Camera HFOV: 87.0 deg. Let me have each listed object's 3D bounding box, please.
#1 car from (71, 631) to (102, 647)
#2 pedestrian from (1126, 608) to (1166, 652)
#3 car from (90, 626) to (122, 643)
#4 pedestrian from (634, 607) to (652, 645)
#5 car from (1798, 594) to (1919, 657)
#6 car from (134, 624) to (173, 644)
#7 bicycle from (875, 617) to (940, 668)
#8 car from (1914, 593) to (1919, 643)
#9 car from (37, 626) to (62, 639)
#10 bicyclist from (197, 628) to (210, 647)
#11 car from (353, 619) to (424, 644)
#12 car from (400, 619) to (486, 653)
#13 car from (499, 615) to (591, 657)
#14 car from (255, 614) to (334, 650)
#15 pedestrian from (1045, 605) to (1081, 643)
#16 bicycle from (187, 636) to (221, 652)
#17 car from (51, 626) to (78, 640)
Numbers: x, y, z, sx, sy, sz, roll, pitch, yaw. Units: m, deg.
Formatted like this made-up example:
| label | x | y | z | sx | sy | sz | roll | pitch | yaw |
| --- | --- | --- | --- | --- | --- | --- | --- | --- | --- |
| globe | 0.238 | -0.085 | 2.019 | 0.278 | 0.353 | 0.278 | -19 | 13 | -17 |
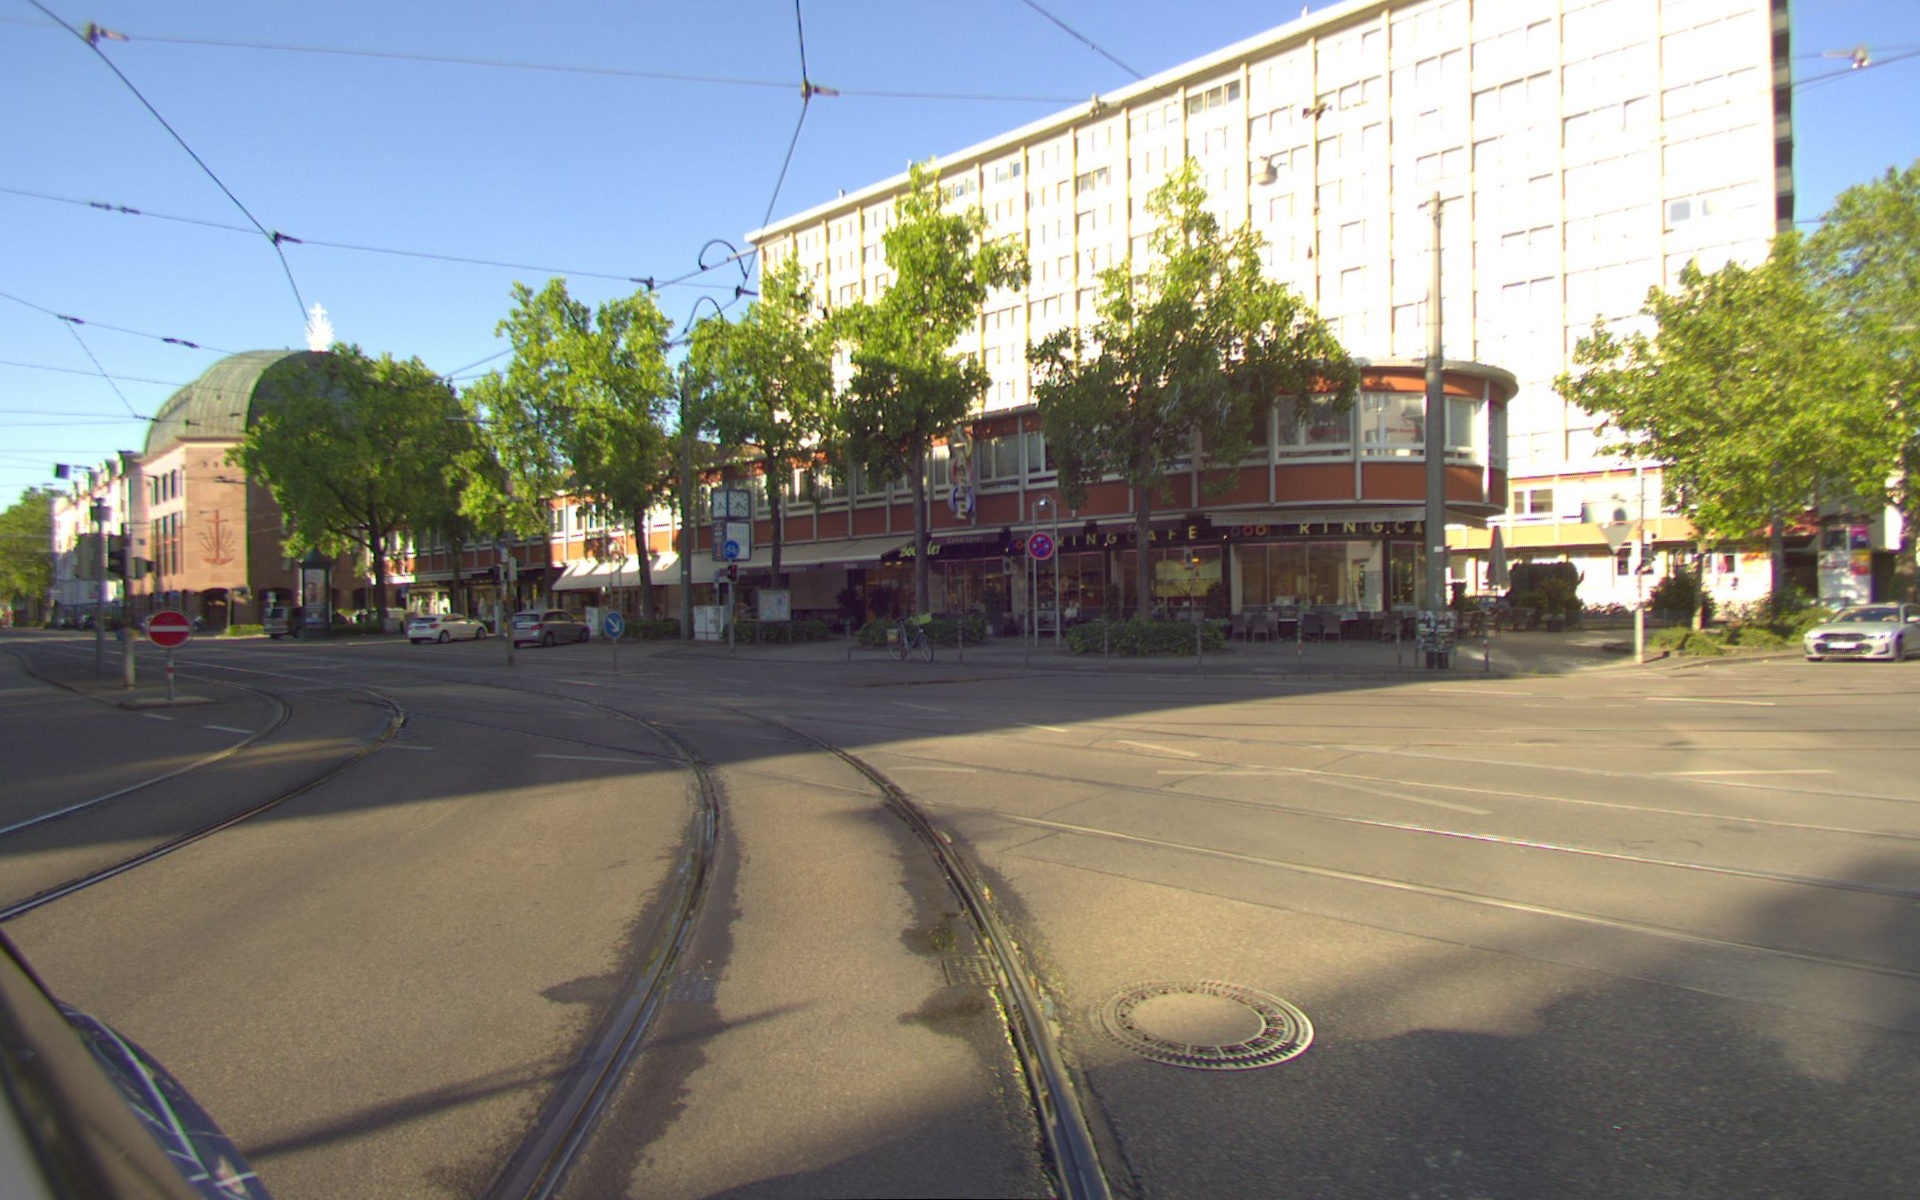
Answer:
| label | x | y | z | sx | sy | sz | roll | pitch | yaw |
| --- | --- | --- | --- | --- | --- | --- | --- | --- | --- |
| car | -94.422 | 4.230 | 109.394 | 3.997 | 1.615 | 1.940 | -2 | 0 | 41 |
| pedestrian | 6.100 | 0.991 | 33.200 | 0.891 | 1.407 | 0.923 | -2 | -1 | 44 |
| car | -89.262 | 3.588 | 105.757 | 3.997 | 1.615 | 1.940 | -2 | 0 | 41 |
| pedestrian | -15.202 | 1.229 | 48.505 | 0.626 | 1.782 | 0.771 | -1 | 0 | -32 |
| car | 22.999 | 0.605 | 25.213 | 4.380 | 1.432 | 1.896 | 0 | -1 | -31 |
| car | -69.528 | 2.912 | 87.268 | 3.997 | 1.615 | 1.886 | -2 | 0 | 41 |
| bicycle | -1.359 | 1.073 | 25.802 | 0.574 | 1.244 | 1.859 | -2 | 0 | -42 |
| car | 29.588 | 0.493 | 29.186 | 4.380 | 1.432 | 1.896 | 0 | -1 | -31 |
| car | -120.232 | 4.266 | 133.623 | 3.997 | 1.615 | 1.940 | -2 | 0 | 41 |
| bicyclist | -57.429 | 2.869 | 76.832 | 0.751 | 1.433 | 0.675 | -1 | -1 | -30 |
| car | -49.270 | 2.723 | 87.285 | 1.999 | 2.029 | 4.920 | -2 | -1 | 40 |
| car | -25.874 | 1.785 | 50.784 | 1.778 | 1.486 | 3.987 | -2 | 0 | 11 |
| car | -17.815 | 1.520 | 43.627 | 1.778 | 1.565 | 3.987 | -2 | 0 | 11 |
| car | -40.860 | 1.954 | 62.251 | 1.889 | 1.979 | 3.991 | -2 | 0 | 7 |
| pedestrian | 3.580 | 0.826 | 35.106 | 0.826 | 1.272 | 0.910 | -1 | -1 | -32 |
| bicycle | -57.382 | 3.339 | 76.849 | 2.004 | 1.100 | 0.675 | -1 | -1 | -30 |
| car | -108.417 | 4.013 | 122.501 | 3.997 | 1.615 | 1.940 | -2 | 0 | 41 |
